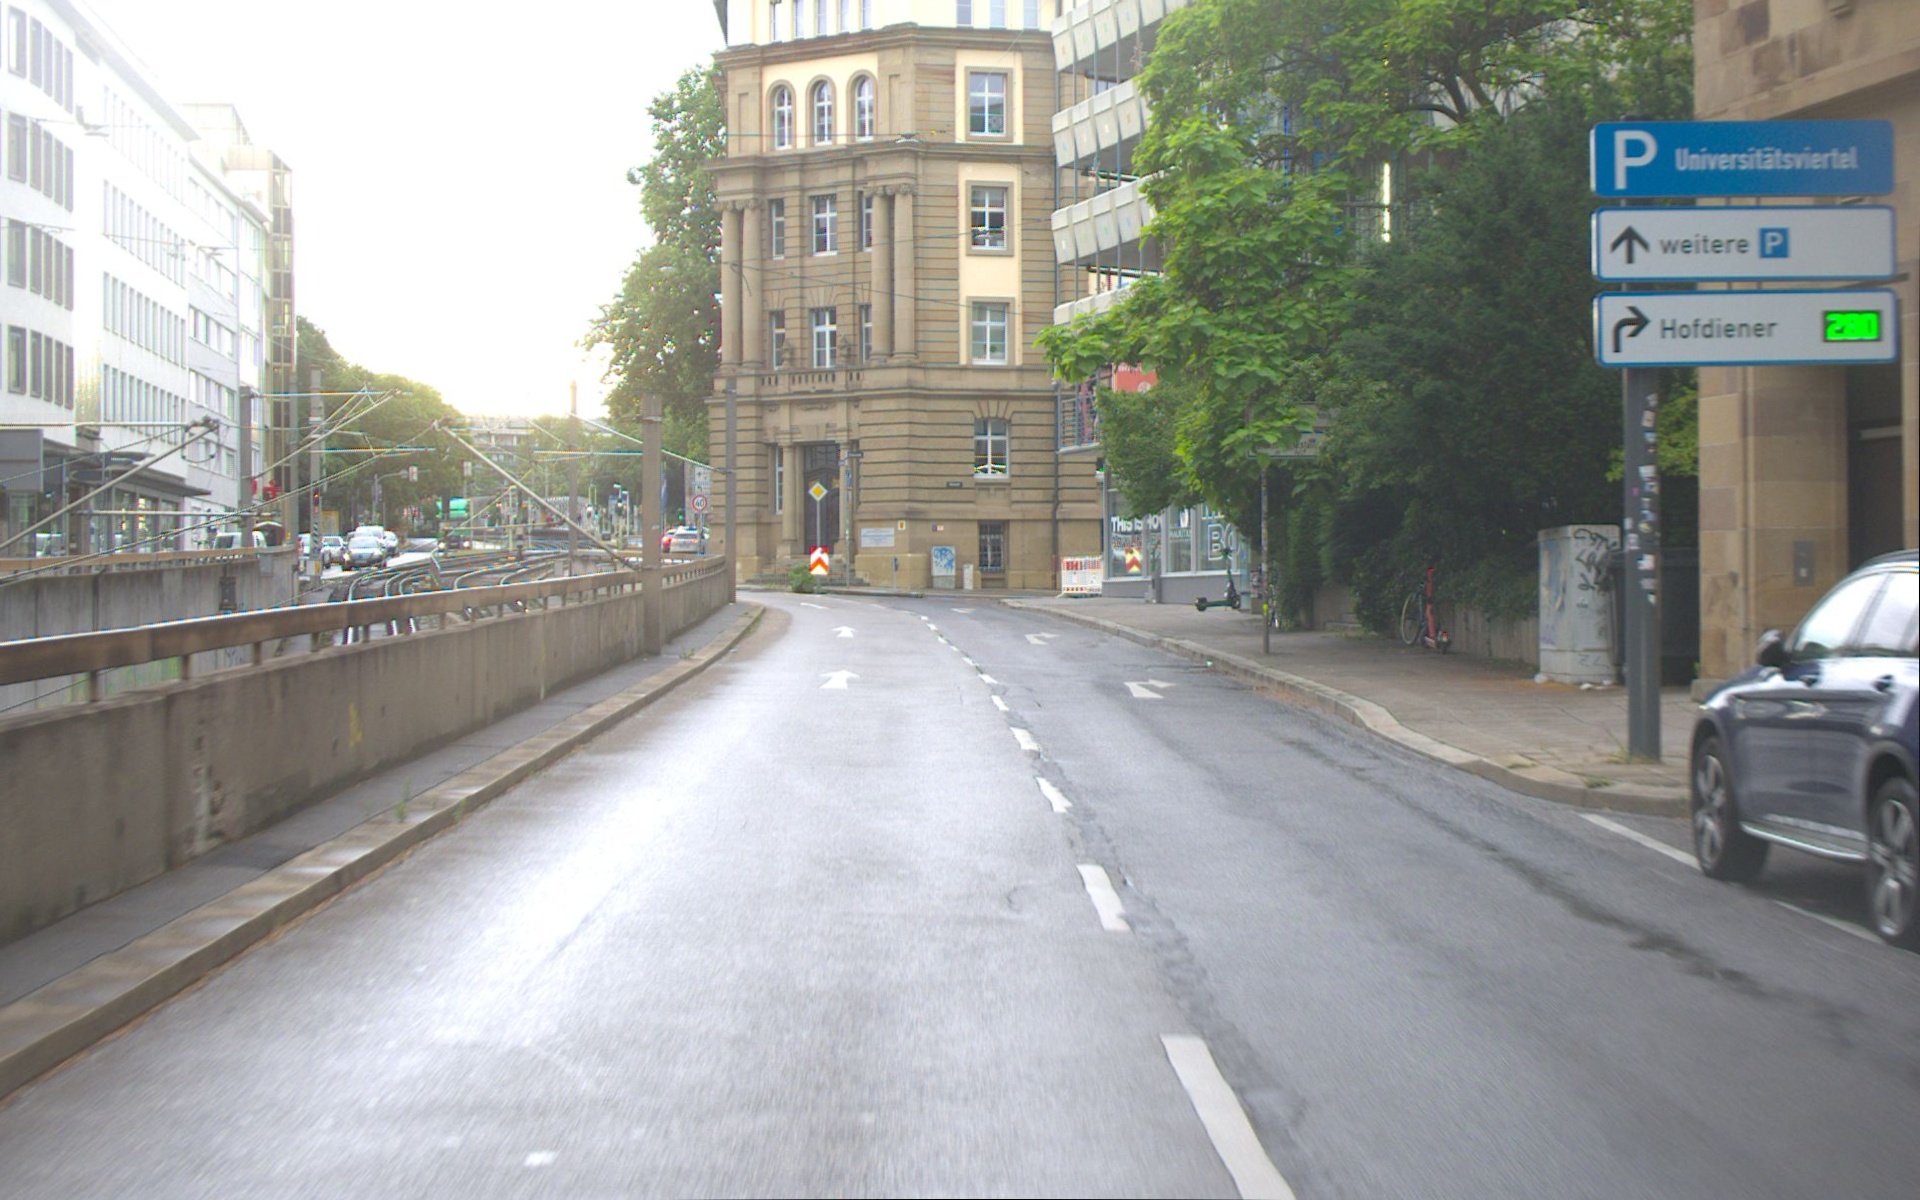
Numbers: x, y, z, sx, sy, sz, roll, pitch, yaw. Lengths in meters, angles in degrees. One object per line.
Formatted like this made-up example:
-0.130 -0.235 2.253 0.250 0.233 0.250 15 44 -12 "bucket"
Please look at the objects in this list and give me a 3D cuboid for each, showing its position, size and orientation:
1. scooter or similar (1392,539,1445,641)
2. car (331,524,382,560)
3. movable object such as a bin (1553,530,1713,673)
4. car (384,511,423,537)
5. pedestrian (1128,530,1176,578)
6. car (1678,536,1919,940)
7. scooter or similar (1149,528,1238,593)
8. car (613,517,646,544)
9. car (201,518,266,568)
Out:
5.821 -0.138 43.659 0.447 1.255 1.211 -2 1 -1 "scooter or similar"
-26.461 -2.563 150.735 1.993 1.522 3.664 0 1 -7 "car"
6.448 0.003 33.026 1.239 1.305 1.234 -2 1 0 "movable object such as a bin"
-31.739 -4.354 196.235 1.993 1.451 4.312 0 1 -7 "car"
4.487 -1.080 80.289 0.752 1.119 1.247 0 1 -15 "pedestrian"
4.627 0.536 15.299 1.768 1.614 4.158 0 1 -3 "car"
4.732 -0.802 69.684 1.635 1.263 0.743 -2 2 -26 "scooter or similar"
-21.007 -4.407 218.567 1.993 1.656 4.001 1 1 -6 "car"
-28.077 -2.226 132.900 1.993 1.876 4.928 0 1 -7 "car"
